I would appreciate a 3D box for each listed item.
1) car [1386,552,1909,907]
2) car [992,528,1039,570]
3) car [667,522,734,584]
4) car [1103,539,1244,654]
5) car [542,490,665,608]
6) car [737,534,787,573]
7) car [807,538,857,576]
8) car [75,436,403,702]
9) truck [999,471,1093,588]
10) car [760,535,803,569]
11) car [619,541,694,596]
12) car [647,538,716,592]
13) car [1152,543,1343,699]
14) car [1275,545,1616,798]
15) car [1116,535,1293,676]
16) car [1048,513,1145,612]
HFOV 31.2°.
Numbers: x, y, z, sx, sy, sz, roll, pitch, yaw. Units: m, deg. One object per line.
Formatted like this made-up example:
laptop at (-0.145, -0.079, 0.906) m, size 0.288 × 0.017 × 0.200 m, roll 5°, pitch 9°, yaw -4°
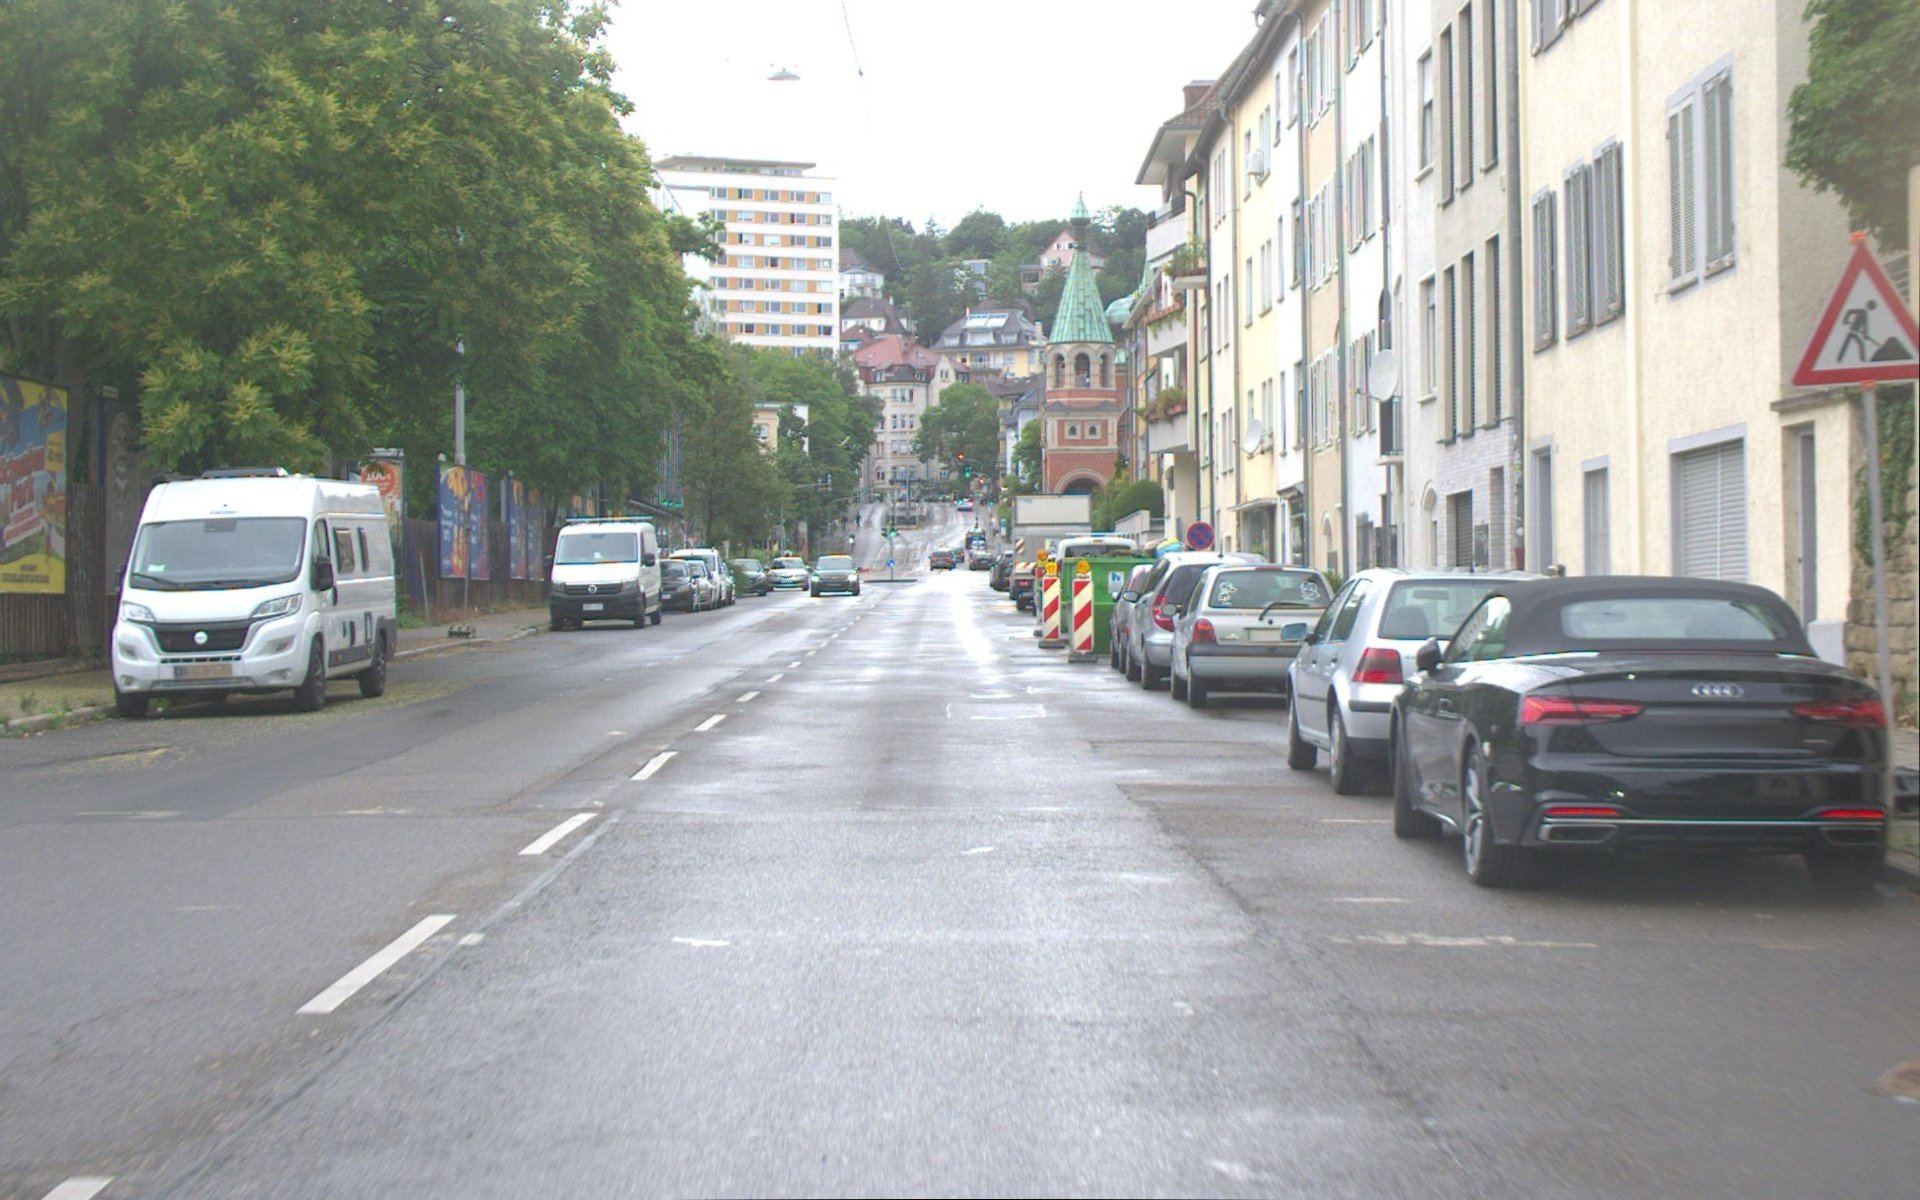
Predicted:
car at (3.104, 0.521, 16.226) m, size 1.629 × 1.449 × 3.759 m, roll 1°, pitch 1°, yaw -1°
car at (2.278, -2.112, 142.039) m, size 1.817 × 1.647 × 4.076 m, roll 1°, pitch 1°, yaw -1°
car at (-7.851, -1.414, 104.305) m, size 1.723 × 1.794 × 4.344 m, roll -1°, pitch 1°, yaw -1°
car at (2.828, -0.082, 46.220) m, size 1.626 × 1.406 × 3.842 m, roll 1°, pitch 2°, yaw 0°
car at (-7.839, -1.162, 76.185) m, size 2.012 × 2.478 × 5.983 m, roll -1°, pitch 1°, yaw 0°
car at (-7.608, -1.776, 132.450) m, size 1.803 × 1.445 × 4.658 m, roll -1°, pitch 1°, yaw -2°
car at (-4.790, -1.618, 128.172) m, size 1.805 × 1.411 × 4.384 m, roll 0°, pitch 1°, yaw -3°
car at (-7.674, -0.393, 37.356) m, size 2.230 × 2.570 × 6.538 m, roll -2°, pitch 1°, yaw -1°
truck at (2.350, -1.961, 96.254) m, size 2.469 × 3.161 × 7.036 m, roll 0°, pitch 1°, yaw 0°
car at (-7.639, -2.052, 147.654) m, size 1.709 × 1.445 × 4.295 m, roll -1°, pitch 1°, yaw -1°
car at (-8.030, -0.843, 91.194) m, size 1.682 × 1.394 × 3.911 m, roll -1°, pitch 1°, yaw -1°
car at (-7.939, -1.008, 98.289) m, size 1.682 × 1.457 × 4.277 m, roll -1°, pitch 1°, yaw -1°
car at (2.915, 0.172, 35.479) m, size 1.558 × 1.449 × 3.760 m, roll 1°, pitch 2°, yaw -1°
car at (3.114, 0.402, 22.695) m, size 1.629 × 1.449 × 3.760 m, roll 1°, pitch 2°, yaw -1°
car at (2.836, 0.024, 40.648) m, size 1.716 × 1.519 × 4.001 m, roll 1°, pitch 2°, yaw -1°
car at (2.747, -0.788, 70.092) m, size 1.817 × 1.917 × 4.239 m, roll -1°, pitch 1°, yaw 0°
